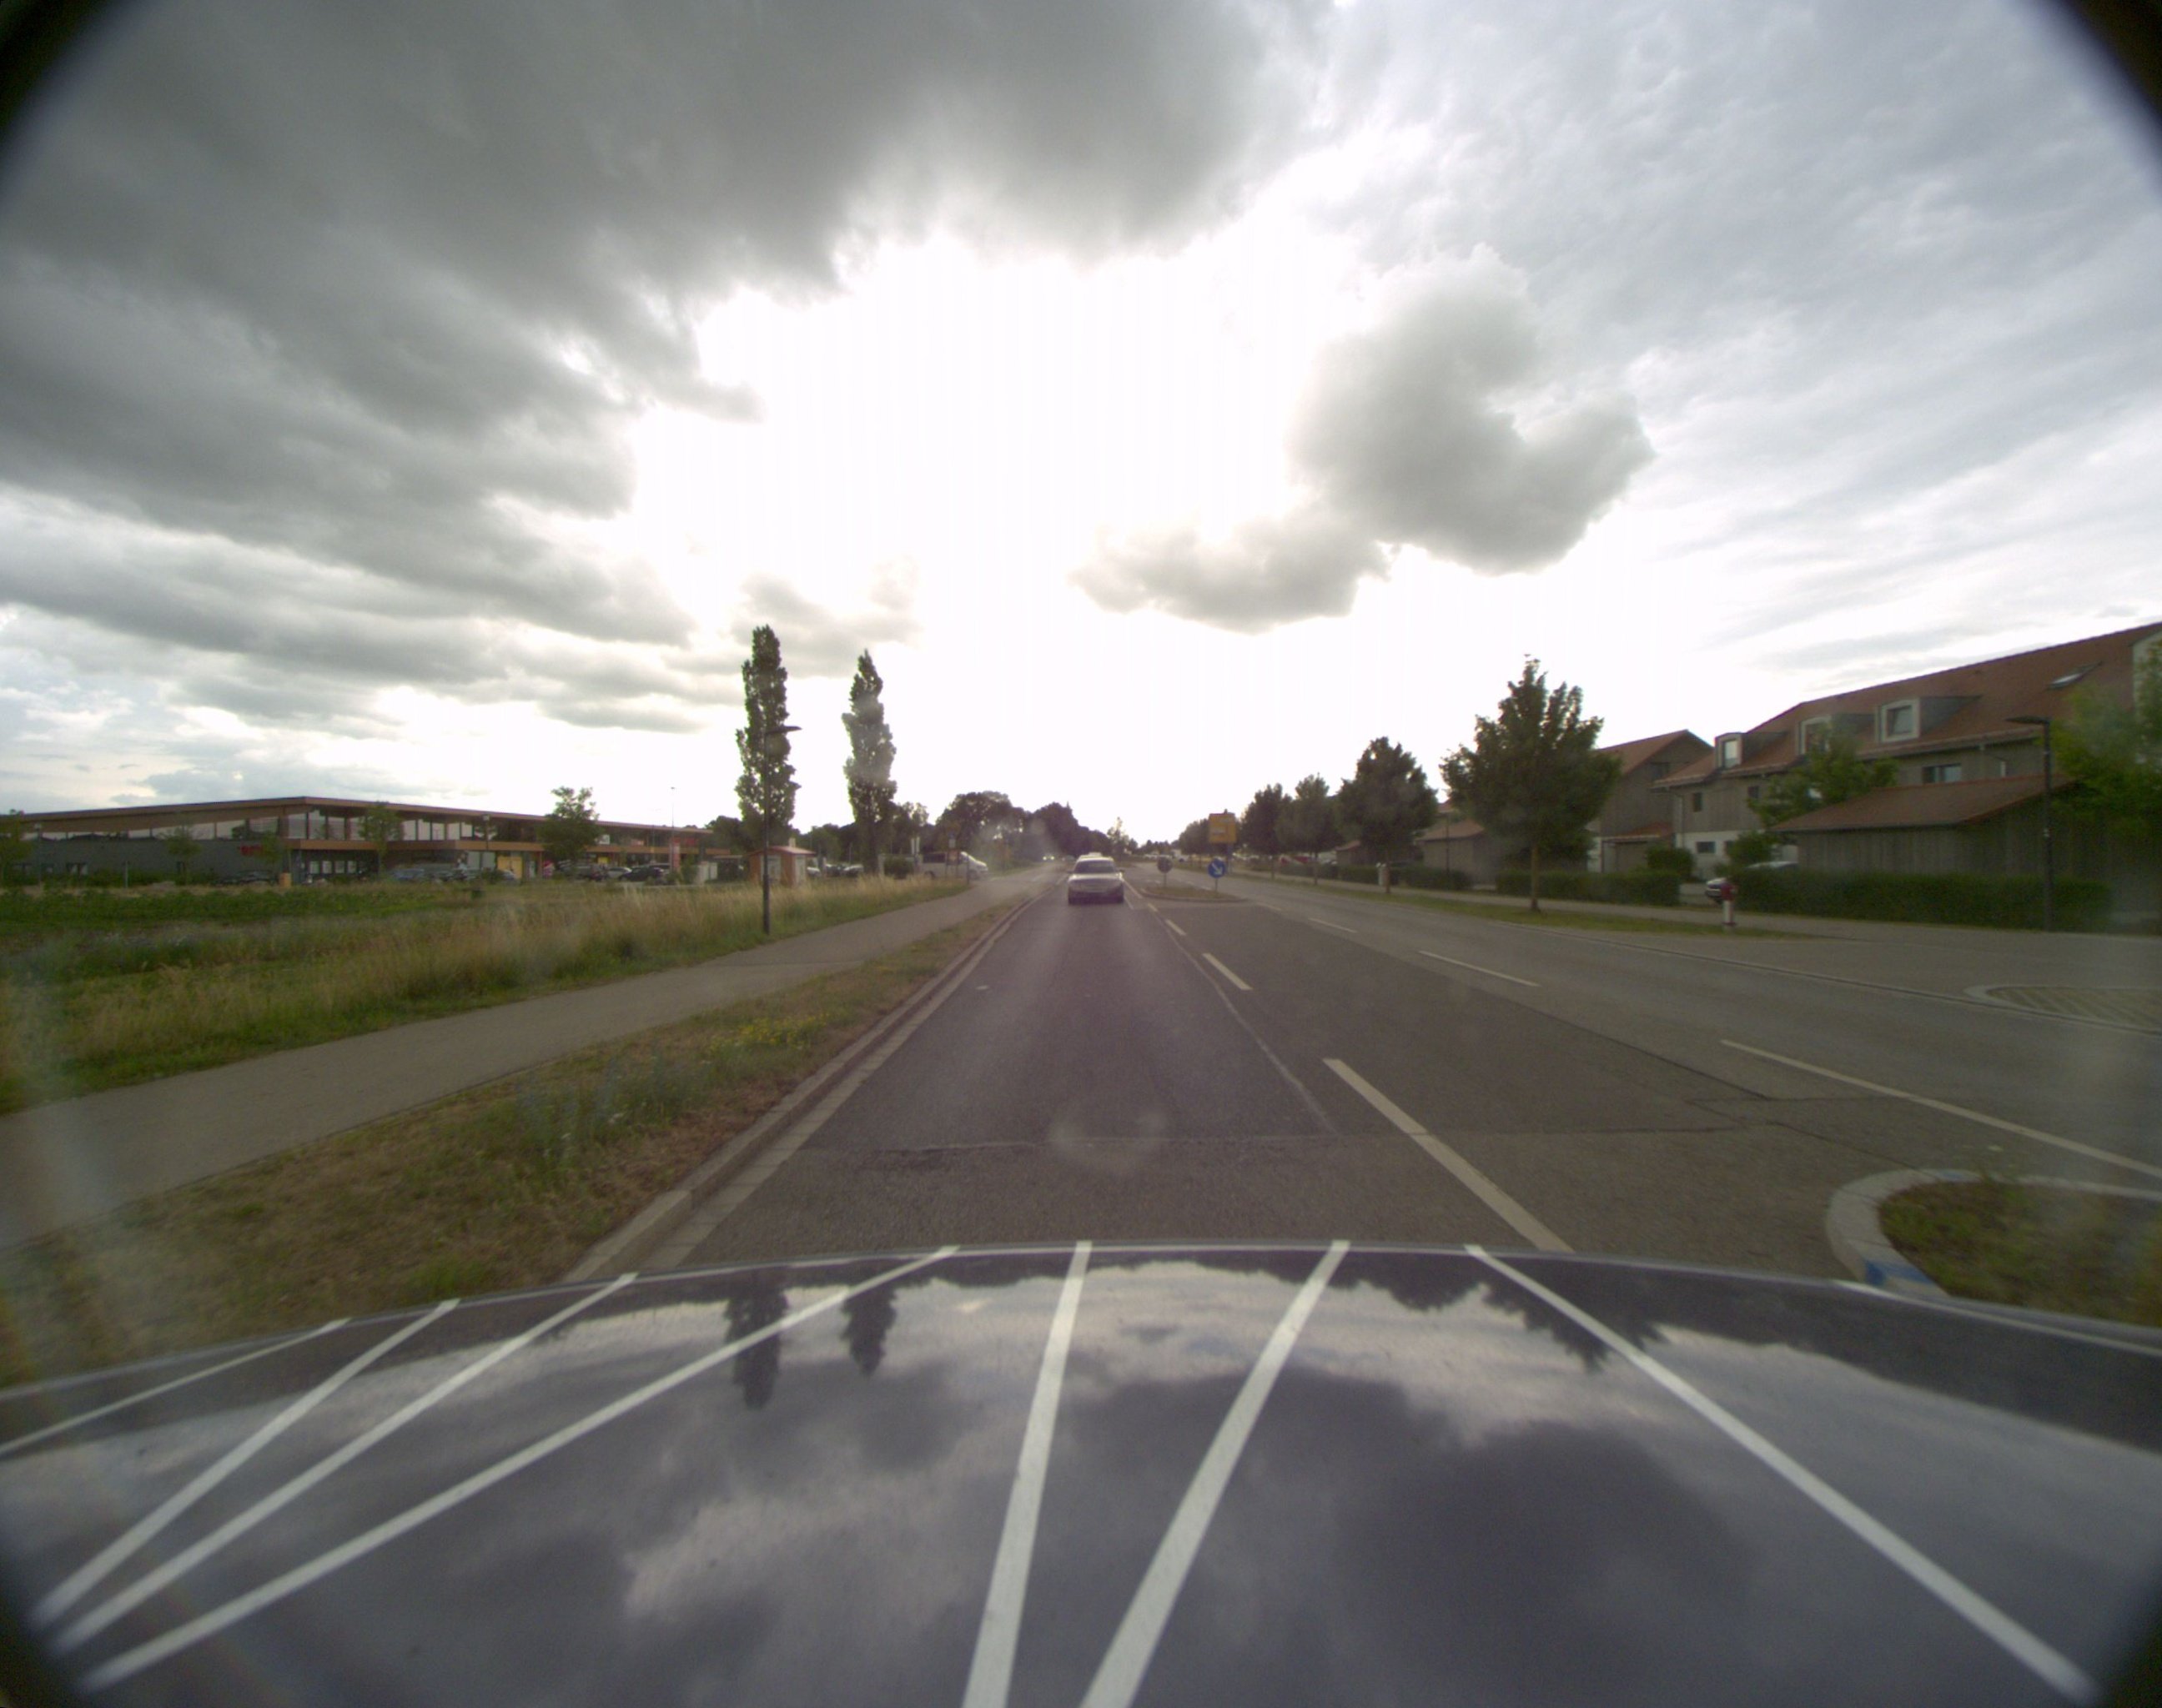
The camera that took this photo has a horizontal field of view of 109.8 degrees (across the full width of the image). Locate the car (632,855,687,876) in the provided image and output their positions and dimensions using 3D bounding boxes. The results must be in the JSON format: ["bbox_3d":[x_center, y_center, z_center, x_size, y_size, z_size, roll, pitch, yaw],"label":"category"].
[{"bbox_3d":[-46.383,1.275,83.671,4.857,2.002,1.999,-2,1,-7],"label":"car"}]

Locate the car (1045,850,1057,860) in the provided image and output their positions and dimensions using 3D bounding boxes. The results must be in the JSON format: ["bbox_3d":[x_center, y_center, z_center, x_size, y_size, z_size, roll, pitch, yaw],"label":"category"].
[{"bbox_3d":[-5.896,0.226,148.912,1.998,2.002,4.000,-1,0,1],"label":"car"}]

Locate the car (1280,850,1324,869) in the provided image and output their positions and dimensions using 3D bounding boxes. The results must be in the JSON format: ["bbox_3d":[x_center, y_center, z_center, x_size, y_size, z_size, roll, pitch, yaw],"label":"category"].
[{"bbox_3d":[25.719,0.677,88.562,4.568,2.002,2.000,-2,1,6],"label":"car"}]

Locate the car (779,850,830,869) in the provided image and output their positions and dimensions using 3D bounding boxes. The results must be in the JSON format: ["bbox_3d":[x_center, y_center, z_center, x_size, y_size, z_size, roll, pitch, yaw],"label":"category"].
[{"bbox_3d":[-34.045,0.645,93.718,5.527,2.002,1.999,-2,1,-5],"label":"car"}]

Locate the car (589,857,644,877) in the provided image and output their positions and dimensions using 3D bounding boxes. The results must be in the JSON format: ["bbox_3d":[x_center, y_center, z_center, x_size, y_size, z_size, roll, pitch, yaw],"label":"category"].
[{"bbox_3d":[-53.083,1.508,86.925,4.857,2.002,1.999,-2,1,-7],"label":"car"}]

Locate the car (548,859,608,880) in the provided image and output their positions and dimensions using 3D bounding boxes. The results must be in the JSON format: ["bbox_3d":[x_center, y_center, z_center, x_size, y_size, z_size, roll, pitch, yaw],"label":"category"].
[{"bbox_3d":[-53.043,1.603,80.183,4.857,2.002,1.999,-2,1,-7],"label":"car"}]

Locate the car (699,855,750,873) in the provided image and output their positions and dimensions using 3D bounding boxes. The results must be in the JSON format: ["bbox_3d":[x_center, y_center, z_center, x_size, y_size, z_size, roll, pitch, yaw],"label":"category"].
[{"bbox_3d":[-46.409,1.312,99.061,5.527,2.002,1.999,-2,1,-5],"label":"car"}]

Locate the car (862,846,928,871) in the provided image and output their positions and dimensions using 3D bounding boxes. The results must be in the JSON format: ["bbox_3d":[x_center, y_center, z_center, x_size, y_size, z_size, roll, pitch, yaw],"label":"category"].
[{"bbox_3d":[-16.931,0.383,69.537,5.527,2.002,1.999,-2,1,-5],"label":"car"}]

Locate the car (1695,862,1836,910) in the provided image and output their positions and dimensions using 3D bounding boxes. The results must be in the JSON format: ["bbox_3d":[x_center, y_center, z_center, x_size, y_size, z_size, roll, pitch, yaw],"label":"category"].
[{"bbox_3d":[23.391,1.085,26.034,3.592,1.431,1.301,-2,1,1],"label":"car"}]

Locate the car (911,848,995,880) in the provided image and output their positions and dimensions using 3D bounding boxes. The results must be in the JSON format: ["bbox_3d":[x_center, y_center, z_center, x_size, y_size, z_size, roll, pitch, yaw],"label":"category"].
[{"bbox_3d":[-8.954,0.686,53.618,5.313,2.002,2.562,-2,1,2],"label":"car"}]

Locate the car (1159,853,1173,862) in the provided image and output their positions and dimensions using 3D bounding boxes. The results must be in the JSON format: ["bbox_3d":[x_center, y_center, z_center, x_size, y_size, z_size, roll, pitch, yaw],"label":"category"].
[{"bbox_3d":[18.657,0.747,166.617,2.000,1.772,3.997,-2,1,-7],"label":"car"}]

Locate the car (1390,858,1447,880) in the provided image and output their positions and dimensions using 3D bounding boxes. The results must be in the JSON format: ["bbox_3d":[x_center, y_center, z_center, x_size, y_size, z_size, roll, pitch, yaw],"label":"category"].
[{"bbox_3d":[24.522,1.108,55.253,3.592,1.431,1.301,-2,1,1],"label":"car"}]

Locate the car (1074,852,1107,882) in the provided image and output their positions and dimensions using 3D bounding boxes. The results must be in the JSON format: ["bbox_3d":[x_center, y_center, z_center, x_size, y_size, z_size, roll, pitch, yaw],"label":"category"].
[{"bbox_3d":[0.578,0.714,44.050,1.763,1.495,4.691,-3,1,1],"label":"car"}]

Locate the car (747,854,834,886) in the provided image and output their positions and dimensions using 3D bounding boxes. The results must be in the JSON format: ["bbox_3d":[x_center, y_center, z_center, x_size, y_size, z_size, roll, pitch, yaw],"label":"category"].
[{"bbox_3d":[-20.739,1.112,54.401,5.313,2.002,2.000,-2,1,2],"label":"car"}]

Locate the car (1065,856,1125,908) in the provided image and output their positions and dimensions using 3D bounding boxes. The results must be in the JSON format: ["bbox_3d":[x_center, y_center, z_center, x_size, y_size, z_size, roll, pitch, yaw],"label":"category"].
[{"bbox_3d":[0.528,0.855,25.137,1.763,1.410,4.520,-2,1,3],"label":"car"}]
